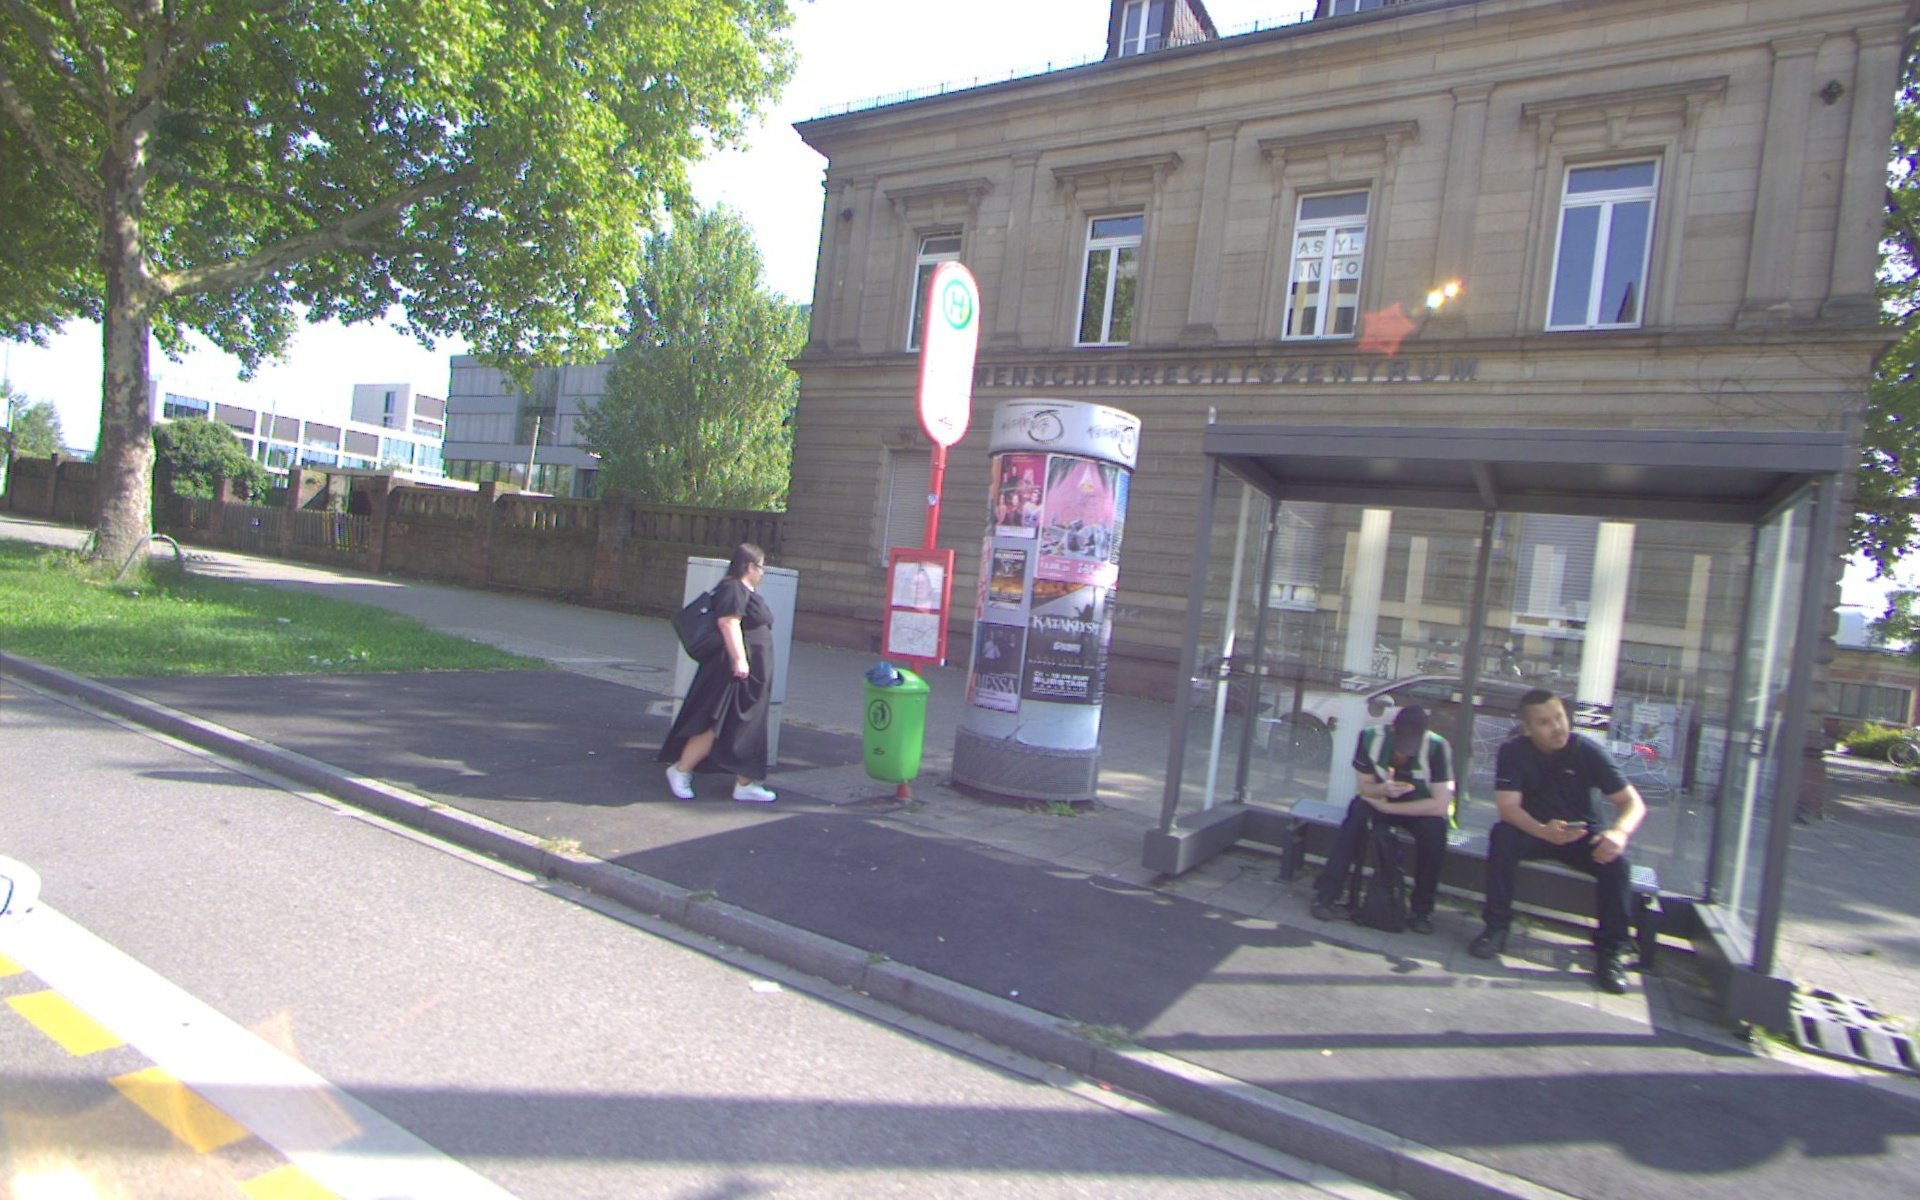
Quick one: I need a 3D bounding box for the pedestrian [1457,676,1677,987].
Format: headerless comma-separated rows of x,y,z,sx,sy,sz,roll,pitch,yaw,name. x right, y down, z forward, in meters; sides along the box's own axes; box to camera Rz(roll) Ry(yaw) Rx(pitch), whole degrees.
2.967,1.084,4.985,0.746,1.294,0.608,7,3,29,pedestrian

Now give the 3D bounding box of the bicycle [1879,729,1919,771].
24.665,3.925,25.566,1.768,0.911,0.567,10,3,39,bicycle

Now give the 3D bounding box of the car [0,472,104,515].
-50.546,-5.899,55.557,1.877,1.756,4.526,7,1,29,car

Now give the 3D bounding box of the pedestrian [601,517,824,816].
-1.524,0.387,6.232,0.810,1.646,0.881,8,2,37,pedestrian

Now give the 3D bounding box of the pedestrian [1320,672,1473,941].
2.321,1.044,5.329,0.564,1.234,0.608,7,3,28,pedestrian
